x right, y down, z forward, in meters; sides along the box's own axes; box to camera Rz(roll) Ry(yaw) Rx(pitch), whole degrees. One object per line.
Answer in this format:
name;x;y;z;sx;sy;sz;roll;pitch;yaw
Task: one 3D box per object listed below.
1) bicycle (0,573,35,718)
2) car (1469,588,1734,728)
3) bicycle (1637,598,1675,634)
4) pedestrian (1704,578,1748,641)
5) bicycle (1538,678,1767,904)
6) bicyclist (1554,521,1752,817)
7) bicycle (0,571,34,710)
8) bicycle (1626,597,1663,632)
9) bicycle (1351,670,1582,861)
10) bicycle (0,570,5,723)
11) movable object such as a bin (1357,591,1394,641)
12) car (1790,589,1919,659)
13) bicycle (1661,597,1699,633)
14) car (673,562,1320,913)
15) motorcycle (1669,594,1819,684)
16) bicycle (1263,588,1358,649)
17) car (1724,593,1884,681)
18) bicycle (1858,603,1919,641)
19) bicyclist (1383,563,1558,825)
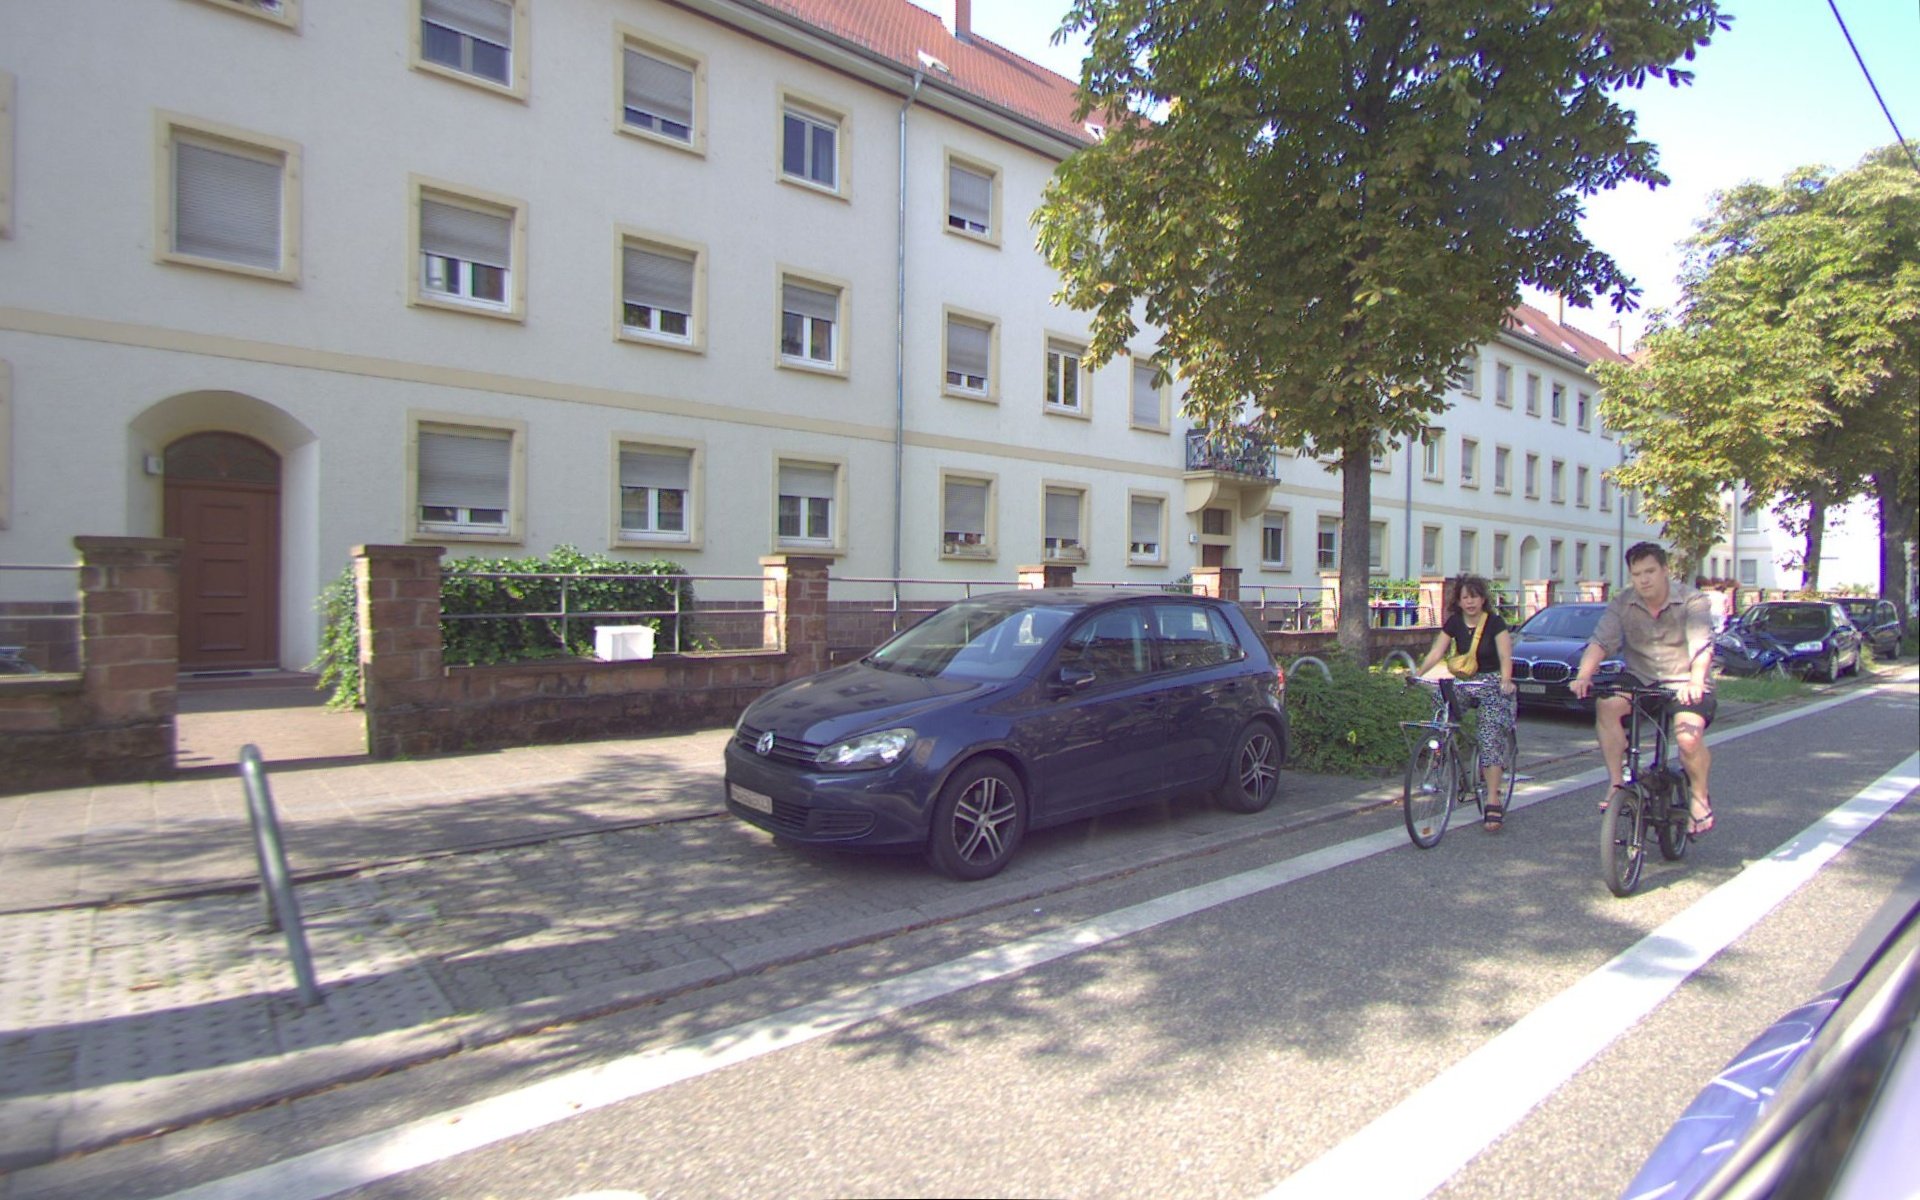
bicycle;-7.682;0.335;7.305;1.462;1.073;0.416;0;1;-40
car;8.445;0.629;13.175;4.260;1.452;1.693;0;3;-41
bicycle;21.808;0.483;31.683;1.697;1.087;0.525;0;0;-39
pedestrian;21.924;0.267;28.961;0.861;1.771;0.755;0;0;-33
bicycle;3.708;0.933;5.378;1.498;0.920;0.627;0;-1;-41
bicyclist;3.693;0.331;5.384;0.913;1.419;0.627;0;-1;-41
bicycle;-8.002;0.313;7.640;1.462;1.073;0.416;0;1;-40
bicycle;21.896;0.444;32.361;1.697;1.087;0.525;0;0;-39
bicycle;3.185;0.949;6.290;1.744;0.920;0.655;0;-1;-41
bicycle;-7.369;0.329;6.720;1.462;1.073;0.416;0;1;-40
movable object such as a bin;9.223;0.353;22.472;0.648;1.083;0.507;0;1;-39
car;22.369;0.543;25.176;3.768;1.559;1.651;0;2;-35
bicycle;22.219;0.461;31.231;1.697;1.087;0.525;0;0;-39
car;0.438;0.573;6.455;4.024;1.520;1.693;-1;3;-41
motorcycle;13.429;0.651;17.367;0.693;1.306;1.858;7;0;-42
bicycle;6.924;0.341;19.943;2.294;1.118;0.772;0;0;-43
car;16.597;0.637;19.833;4.170;1.466;1.649;0;3;-40
bicycle;27.112;0.624;29.293;1.696;1.087;0.525;0;0;2
bicyclist;3.186;0.536;6.315;0.893;1.493;0.655;0;-1;-41
